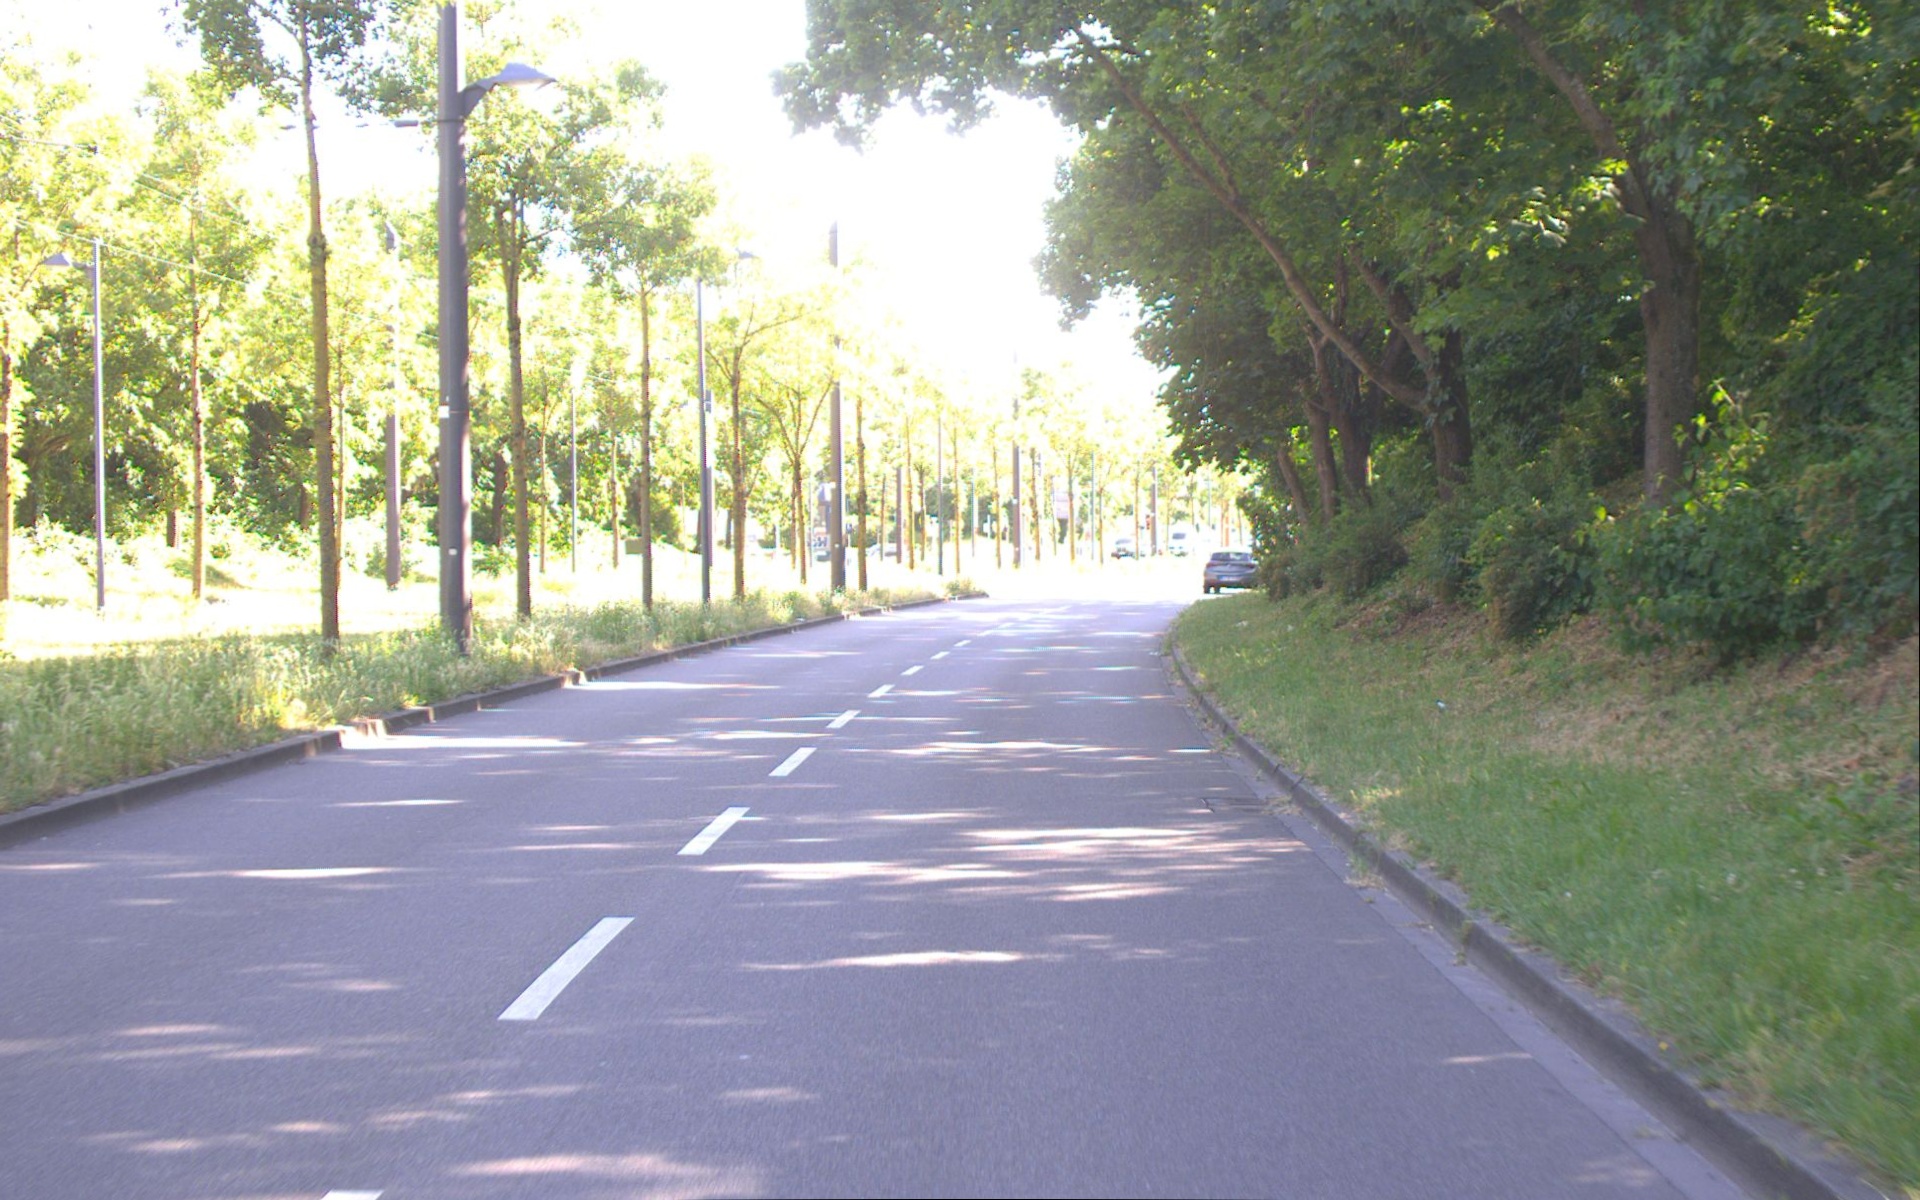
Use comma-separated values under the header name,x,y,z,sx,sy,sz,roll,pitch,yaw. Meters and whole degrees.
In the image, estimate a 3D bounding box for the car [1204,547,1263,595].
name,x,y,z,sx,sy,sz,roll,pitch,yaw
car,8.788,-0.943,110.319,1.634,1.493,4.233,1,1,8
